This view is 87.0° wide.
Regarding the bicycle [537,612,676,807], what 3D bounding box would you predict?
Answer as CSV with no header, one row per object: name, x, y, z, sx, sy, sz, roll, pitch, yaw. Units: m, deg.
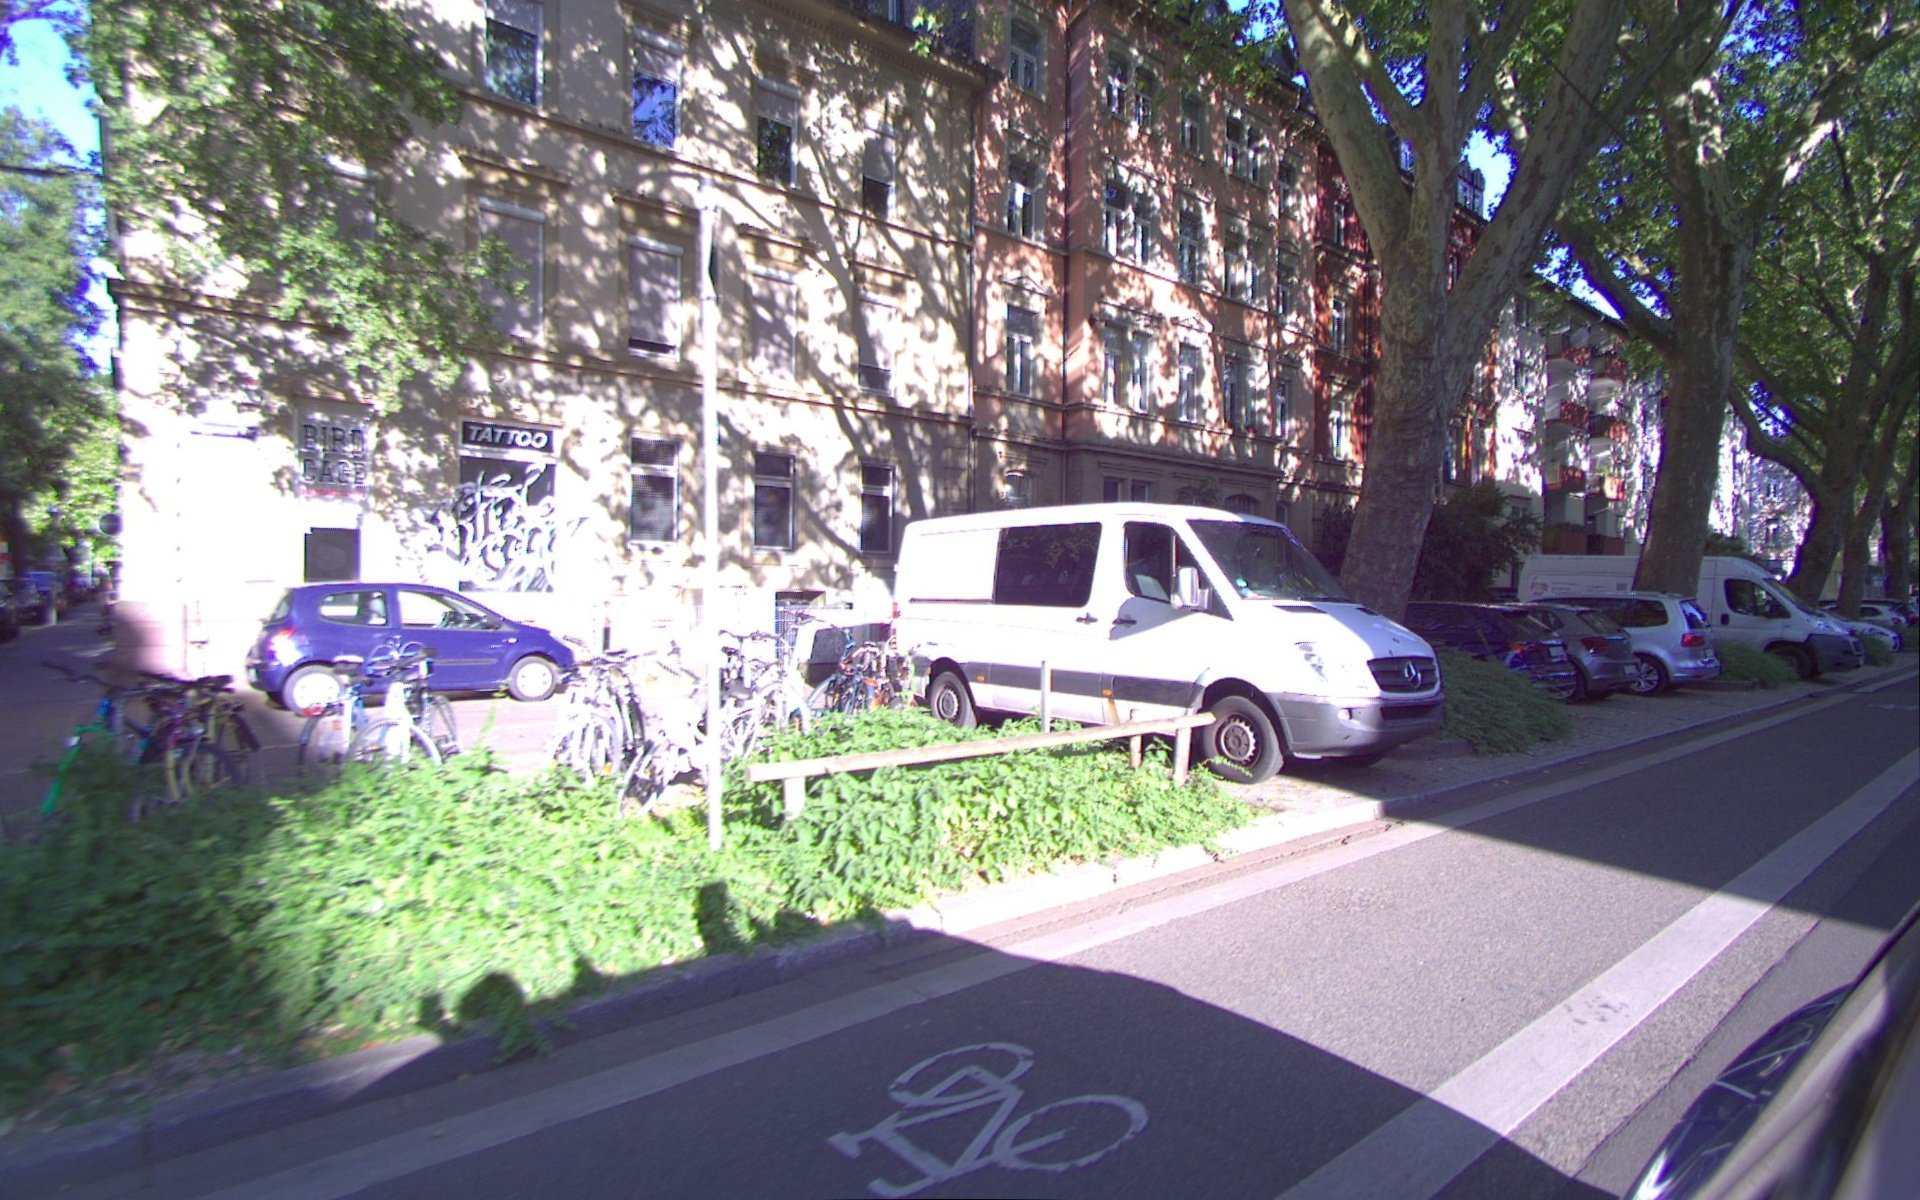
bicycle,-2.564,0.719,7.543,0.405,1.193,2.050,0,1,-3

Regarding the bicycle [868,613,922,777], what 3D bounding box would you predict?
bicycle,-0.550,0.738,8.747,0.405,1.193,2.050,0,1,-3

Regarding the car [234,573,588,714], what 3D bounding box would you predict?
car,-6.625,0.455,12.409,3.511,1.474,1.734,0,0,-44

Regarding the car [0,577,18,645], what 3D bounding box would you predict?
car,-21.972,0.284,21.849,1.819,1.485,4.000,-3,3,-35

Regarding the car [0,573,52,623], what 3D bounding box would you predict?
car,-31.461,-0.097,33.403,1.820,1.549,3.998,-3,3,-37

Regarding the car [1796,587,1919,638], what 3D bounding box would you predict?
car,33.768,0.442,37.526,1.773,1.767,4.002,1,1,-40

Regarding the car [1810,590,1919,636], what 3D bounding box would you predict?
car,35.816,0.488,39.147,1.713,1.673,4.297,0,1,-42

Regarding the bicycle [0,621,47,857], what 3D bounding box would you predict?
bicycle,-5.098,0.737,5.053,0.405,1.193,2.050,0,1,-31

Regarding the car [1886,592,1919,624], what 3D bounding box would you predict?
car,48.301,0.430,50.057,1.648,1.550,3.568,0,1,-41

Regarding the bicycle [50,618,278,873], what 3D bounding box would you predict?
bicycle,-4.634,0.737,6.041,0.404,1.193,2.053,0,1,-19

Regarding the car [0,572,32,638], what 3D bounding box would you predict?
car,-24.680,0.117,25.245,1.820,1.549,3.998,-3,3,-37

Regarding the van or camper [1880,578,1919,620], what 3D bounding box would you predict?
van or camper,50.223,-0.048,51.877,1.808,2.136,4.381,0,1,-43

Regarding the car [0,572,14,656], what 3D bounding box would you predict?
car,-18.983,0.332,18.530,1.819,1.618,4.000,-3,3,-35

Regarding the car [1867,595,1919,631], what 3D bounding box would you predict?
car,42.374,0.610,43.932,1.877,1.500,4.207,0,2,-38

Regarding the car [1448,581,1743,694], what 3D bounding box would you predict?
car,10.748,0.528,17.322,1.766,1.676,3.960,-1,2,-42

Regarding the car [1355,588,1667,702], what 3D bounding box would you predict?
car,8.542,0.596,15.957,1.764,1.497,3.963,0,1,-40

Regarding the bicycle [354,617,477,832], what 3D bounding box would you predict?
bicycle,-3.687,0.746,6.970,0.404,1.193,2.053,0,1,-19

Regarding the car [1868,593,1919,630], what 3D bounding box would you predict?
car,40.562,0.537,42.272,3.828,1.462,1.672,3,0,45

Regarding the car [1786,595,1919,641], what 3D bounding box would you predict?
car,31.884,0.599,36.056,1.631,1.514,3.615,0,1,-41

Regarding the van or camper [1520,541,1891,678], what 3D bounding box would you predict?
van or camper,15.601,0.101,21.582,2.070,2.522,6.045,0,1,-40

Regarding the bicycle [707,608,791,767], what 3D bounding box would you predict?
bicycle,-1.819,0.691,8.932,0.405,1.193,2.050,0,1,-3

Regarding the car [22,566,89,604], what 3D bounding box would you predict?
car,-39.883,-0.701,44.685,1.820,1.549,3.868,-3,3,-37

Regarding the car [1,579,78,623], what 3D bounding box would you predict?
car,-35.773,0.000,39.429,1.820,1.549,3.868,-3,3,-37

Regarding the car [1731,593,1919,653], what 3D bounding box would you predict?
car,24.807,0.590,29.074,1.658,1.498,3.963,0,2,-39

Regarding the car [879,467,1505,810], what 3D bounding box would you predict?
car,1.705,0.210,9.814,1.969,2.311,6.007,1,0,-38

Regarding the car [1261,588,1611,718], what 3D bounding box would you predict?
car,6.466,0.606,14.098,1.765,1.478,4.061,0,1,-41
